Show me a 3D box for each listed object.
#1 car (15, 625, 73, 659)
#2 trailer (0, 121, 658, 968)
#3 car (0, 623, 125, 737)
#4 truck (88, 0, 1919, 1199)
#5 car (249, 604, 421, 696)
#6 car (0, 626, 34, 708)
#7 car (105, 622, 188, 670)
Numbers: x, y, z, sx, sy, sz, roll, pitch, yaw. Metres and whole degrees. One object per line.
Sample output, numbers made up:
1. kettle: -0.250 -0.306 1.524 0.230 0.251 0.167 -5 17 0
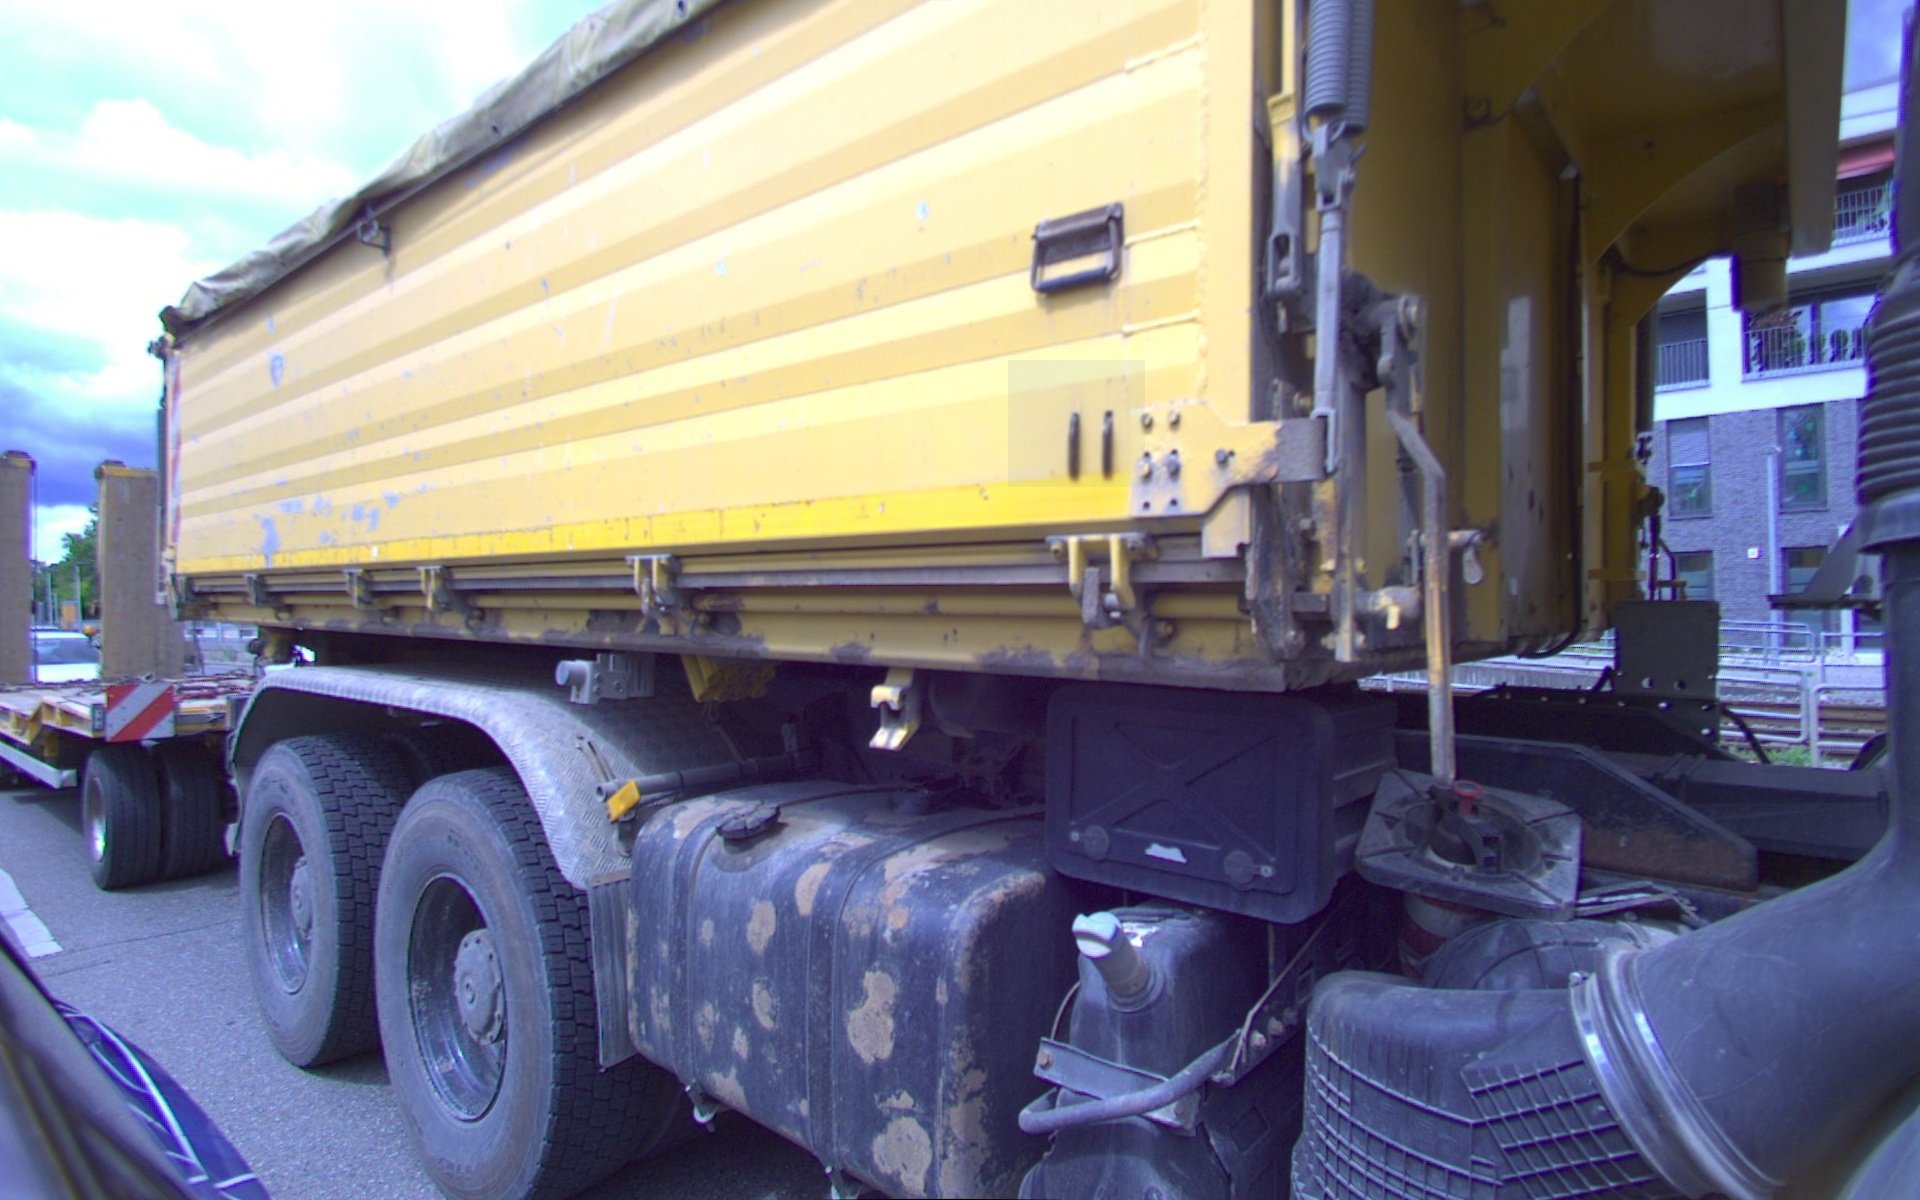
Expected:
1. car: -42.770 1.952 47.225 3.552 1.509 1.623 -2 -1 41
2. trailer: -6.863 -0.137 8.857 10.909 3.548 2.678 -2 -1 41
3. car: -14.215 1.132 15.436 3.998 1.490 1.671 -1 0 41
4. truck: 0.154 -0.026 2.689 7.775 3.026 2.692 -1 0 41
5. car: -13.797 1.050 22.212 4.861 1.785 1.863 -2 -1 41
6. car: -19.552 1.285 19.805 3.998 1.490 1.671 -1 0 41
7. car: -27.873 1.553 34.635 3.552 1.509 1.623 -2 -1 41
